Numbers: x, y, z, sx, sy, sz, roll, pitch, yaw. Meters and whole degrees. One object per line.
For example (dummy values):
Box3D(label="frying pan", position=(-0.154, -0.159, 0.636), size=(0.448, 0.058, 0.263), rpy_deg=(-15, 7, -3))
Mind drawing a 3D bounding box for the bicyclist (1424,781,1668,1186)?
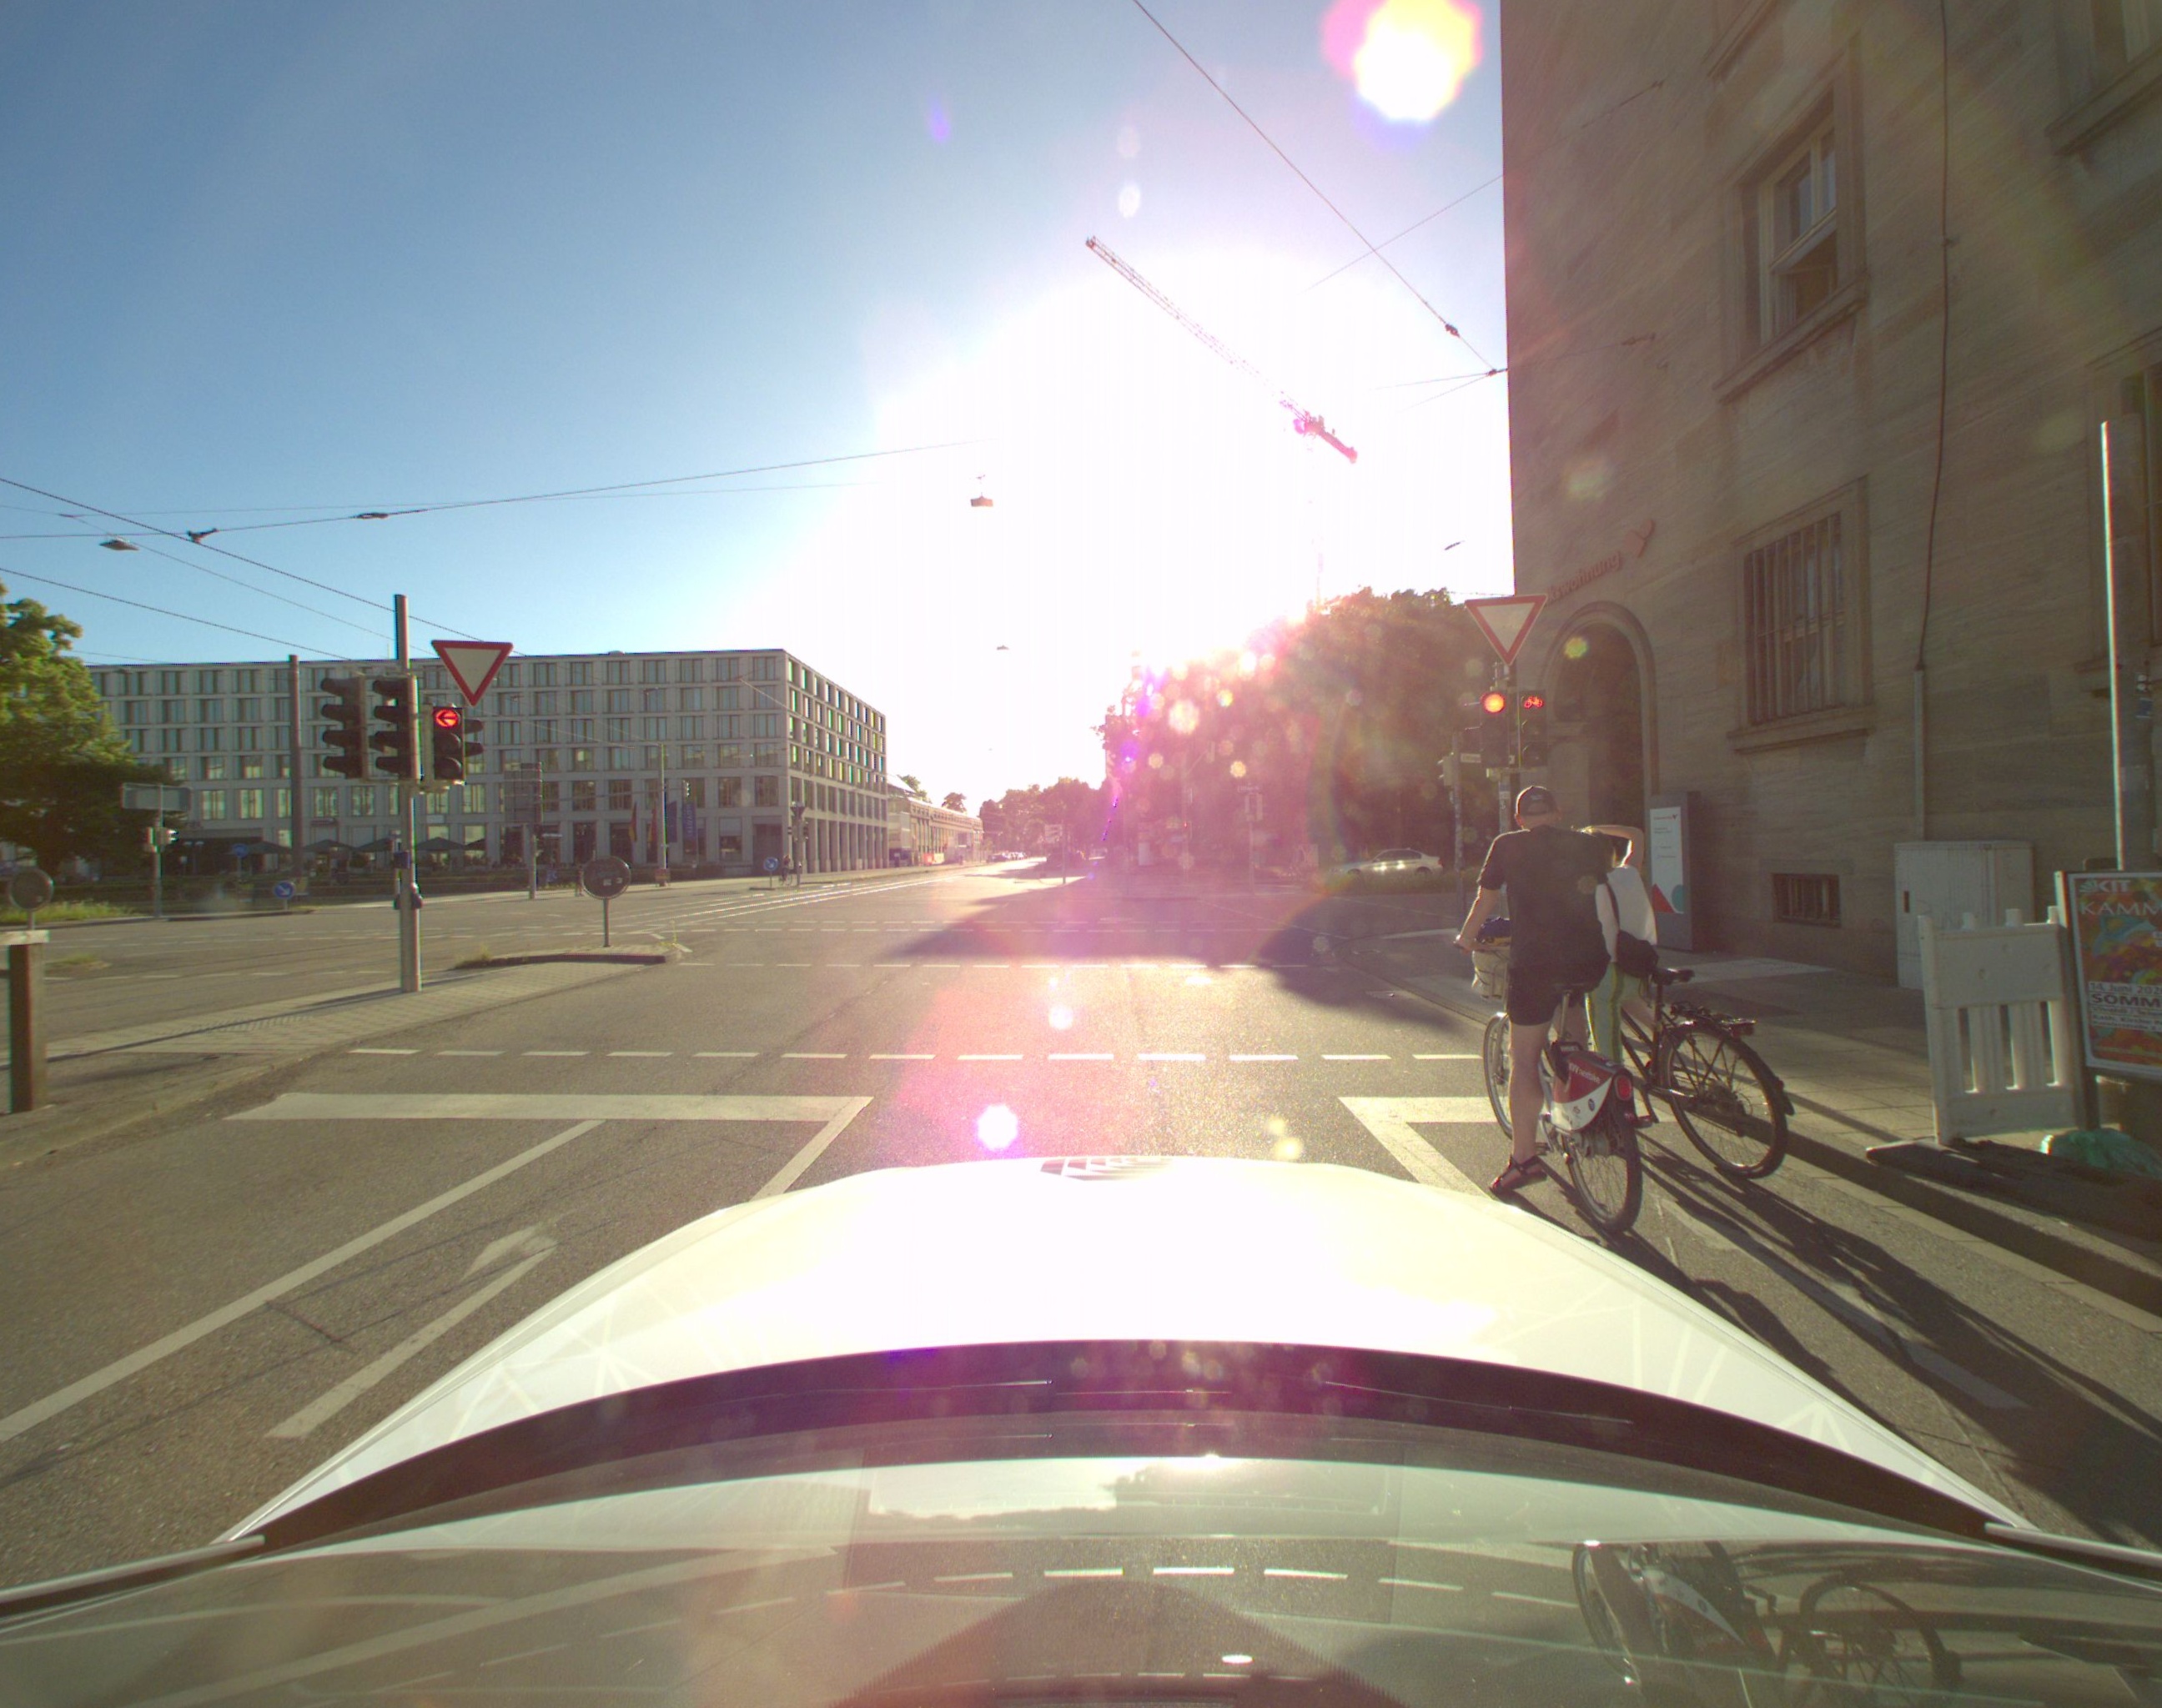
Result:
Box3D(label="bicyclist", position=(2.182, 0.552, 3.942), size=(0.621, 1.715, 0.913), rpy_deg=(-2, 0, 1))

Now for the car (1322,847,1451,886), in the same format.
Box3D(label="car", position=(12.439, 0.504, 33.410), size=(4.559, 1.516, 2.001), rpy_deg=(0, -1, 1))

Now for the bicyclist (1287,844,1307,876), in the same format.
Box3D(label="bicyclist", position=(9.623, 0.266, 36.292), size=(0.742, 1.406, 0.704), rpy_deg=(-1, -1, 8))

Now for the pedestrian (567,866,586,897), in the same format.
Box3D(label="pedestrian", position=(-28.223, 1.552, 45.555), size=(0.598, 1.681, 0.610), rpy_deg=(-2, 0, 26))

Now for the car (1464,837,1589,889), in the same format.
Box3D(label="car", position=(17.886, 0.351, 32.852), size=(3.970, 2.014, 2.002), rpy_deg=(0, -1, 3))

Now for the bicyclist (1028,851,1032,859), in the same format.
Box3D(label="bicyclist", position=(-11.928, 0.189, 189.387), size=(0.748, 1.920, 1.214), rpy_deg=(0, -1, 1))

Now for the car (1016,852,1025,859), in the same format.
Box3D(label="car", position=(-14.454, 0.290, 195.319), size=(1.988, 1.644, 3.998), rpy_deg=(-2, 0, -1))

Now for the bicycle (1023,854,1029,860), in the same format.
Box3D(label="bicycle", position=(-12.406, 0.692, 184.883), size=(0.746, 1.205, 3.114), rpy_deg=(0, -1, 7))

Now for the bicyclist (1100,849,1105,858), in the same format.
Box3D(label="bicyclist", position=(5.100, -0.127, 193.085), size=(0.891, 2.014, 0.746), rpy_deg=(0, -1, -10))

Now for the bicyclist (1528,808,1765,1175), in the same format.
Box3D(label="bicyclist", position=(2.961, 0.656, 4.365), size=(0.581, 1.738, 0.951), rpy_deg=(-2, 0, 2))

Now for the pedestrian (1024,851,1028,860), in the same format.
Box3D(label="pedestrian", position=(-12.412, 0.253, 184.955), size=(0.746, 2.063, 1.052), rpy_deg=(0, -1, 7))

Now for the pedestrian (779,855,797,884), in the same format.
Box3D(label="pedestrian", position=(-16.451, 0.846, 45.683), size=(0.735, 1.595, 0.577), rpy_deg=(-2, 0, 29))

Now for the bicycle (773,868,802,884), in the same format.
Box3D(label="bicycle", position=(-16.475, 1.237, 45.707), size=(1.696, 0.823, 0.577), rpy_deg=(-2, 0, 29))

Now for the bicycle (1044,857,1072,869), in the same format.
Box3D(label="bicycle", position=(-1.924, 0.729, 67.433), size=(2.240, 0.940, 0.653), rpy_deg=(-2, 0, -4))

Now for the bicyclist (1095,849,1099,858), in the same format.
Box3D(label="bicyclist", position=(3.796, -0.119, 192.930), size=(0.891, 2.014, 0.746), rpy_deg=(0, -1, -10))

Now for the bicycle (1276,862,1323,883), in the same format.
Box3D(label="bicycle", position=(9.716, 0.829, 36.279), size=(1.932, 0.889, 0.719), rpy_deg=(-1, -1, 8))

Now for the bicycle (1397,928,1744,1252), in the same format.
Box3D(label="bicycle", position=(2.189, 0.972, 3.953), size=(0.621, 1.044, 1.747), rpy_deg=(-2, 0, 1))

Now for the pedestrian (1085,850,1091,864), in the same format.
Box3D(label="pedestrian", position=(0.805, 0.325, 97.867), size=(0.576, 1.689, 0.584), rpy_deg=(-2, 0, -6))

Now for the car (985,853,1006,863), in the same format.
Box3D(label="car", position=(-14.907, 0.726, 142.137), size=(1.976, 1.599, 4.022), rpy_deg=(-2, 0, 23))

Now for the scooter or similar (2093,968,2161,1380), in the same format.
Box3D(label="scooter or similar", position=(3.355, 0.906, 1.820), size=(0.571, 1.150, 1.271), rpy_deg=(0, -1, 0))

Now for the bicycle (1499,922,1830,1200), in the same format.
Box3D(label="bicycle", position=(2.970, 0.971, 4.398), size=(0.579, 1.044, 1.748), rpy_deg=(-2, 0, 3))

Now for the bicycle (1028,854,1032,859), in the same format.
Box3D(label="bicycle", position=(-11.929, 0.539, 189.503), size=(0.748, 1.205, 3.108), rpy_deg=(0, -1, 1))

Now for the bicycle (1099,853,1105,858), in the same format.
Box3D(label="bicycle", position=(5.050, 0.272, 193.260), size=(0.890, 1.219, 2.784), rpy_deg=(0, -1, -9))
